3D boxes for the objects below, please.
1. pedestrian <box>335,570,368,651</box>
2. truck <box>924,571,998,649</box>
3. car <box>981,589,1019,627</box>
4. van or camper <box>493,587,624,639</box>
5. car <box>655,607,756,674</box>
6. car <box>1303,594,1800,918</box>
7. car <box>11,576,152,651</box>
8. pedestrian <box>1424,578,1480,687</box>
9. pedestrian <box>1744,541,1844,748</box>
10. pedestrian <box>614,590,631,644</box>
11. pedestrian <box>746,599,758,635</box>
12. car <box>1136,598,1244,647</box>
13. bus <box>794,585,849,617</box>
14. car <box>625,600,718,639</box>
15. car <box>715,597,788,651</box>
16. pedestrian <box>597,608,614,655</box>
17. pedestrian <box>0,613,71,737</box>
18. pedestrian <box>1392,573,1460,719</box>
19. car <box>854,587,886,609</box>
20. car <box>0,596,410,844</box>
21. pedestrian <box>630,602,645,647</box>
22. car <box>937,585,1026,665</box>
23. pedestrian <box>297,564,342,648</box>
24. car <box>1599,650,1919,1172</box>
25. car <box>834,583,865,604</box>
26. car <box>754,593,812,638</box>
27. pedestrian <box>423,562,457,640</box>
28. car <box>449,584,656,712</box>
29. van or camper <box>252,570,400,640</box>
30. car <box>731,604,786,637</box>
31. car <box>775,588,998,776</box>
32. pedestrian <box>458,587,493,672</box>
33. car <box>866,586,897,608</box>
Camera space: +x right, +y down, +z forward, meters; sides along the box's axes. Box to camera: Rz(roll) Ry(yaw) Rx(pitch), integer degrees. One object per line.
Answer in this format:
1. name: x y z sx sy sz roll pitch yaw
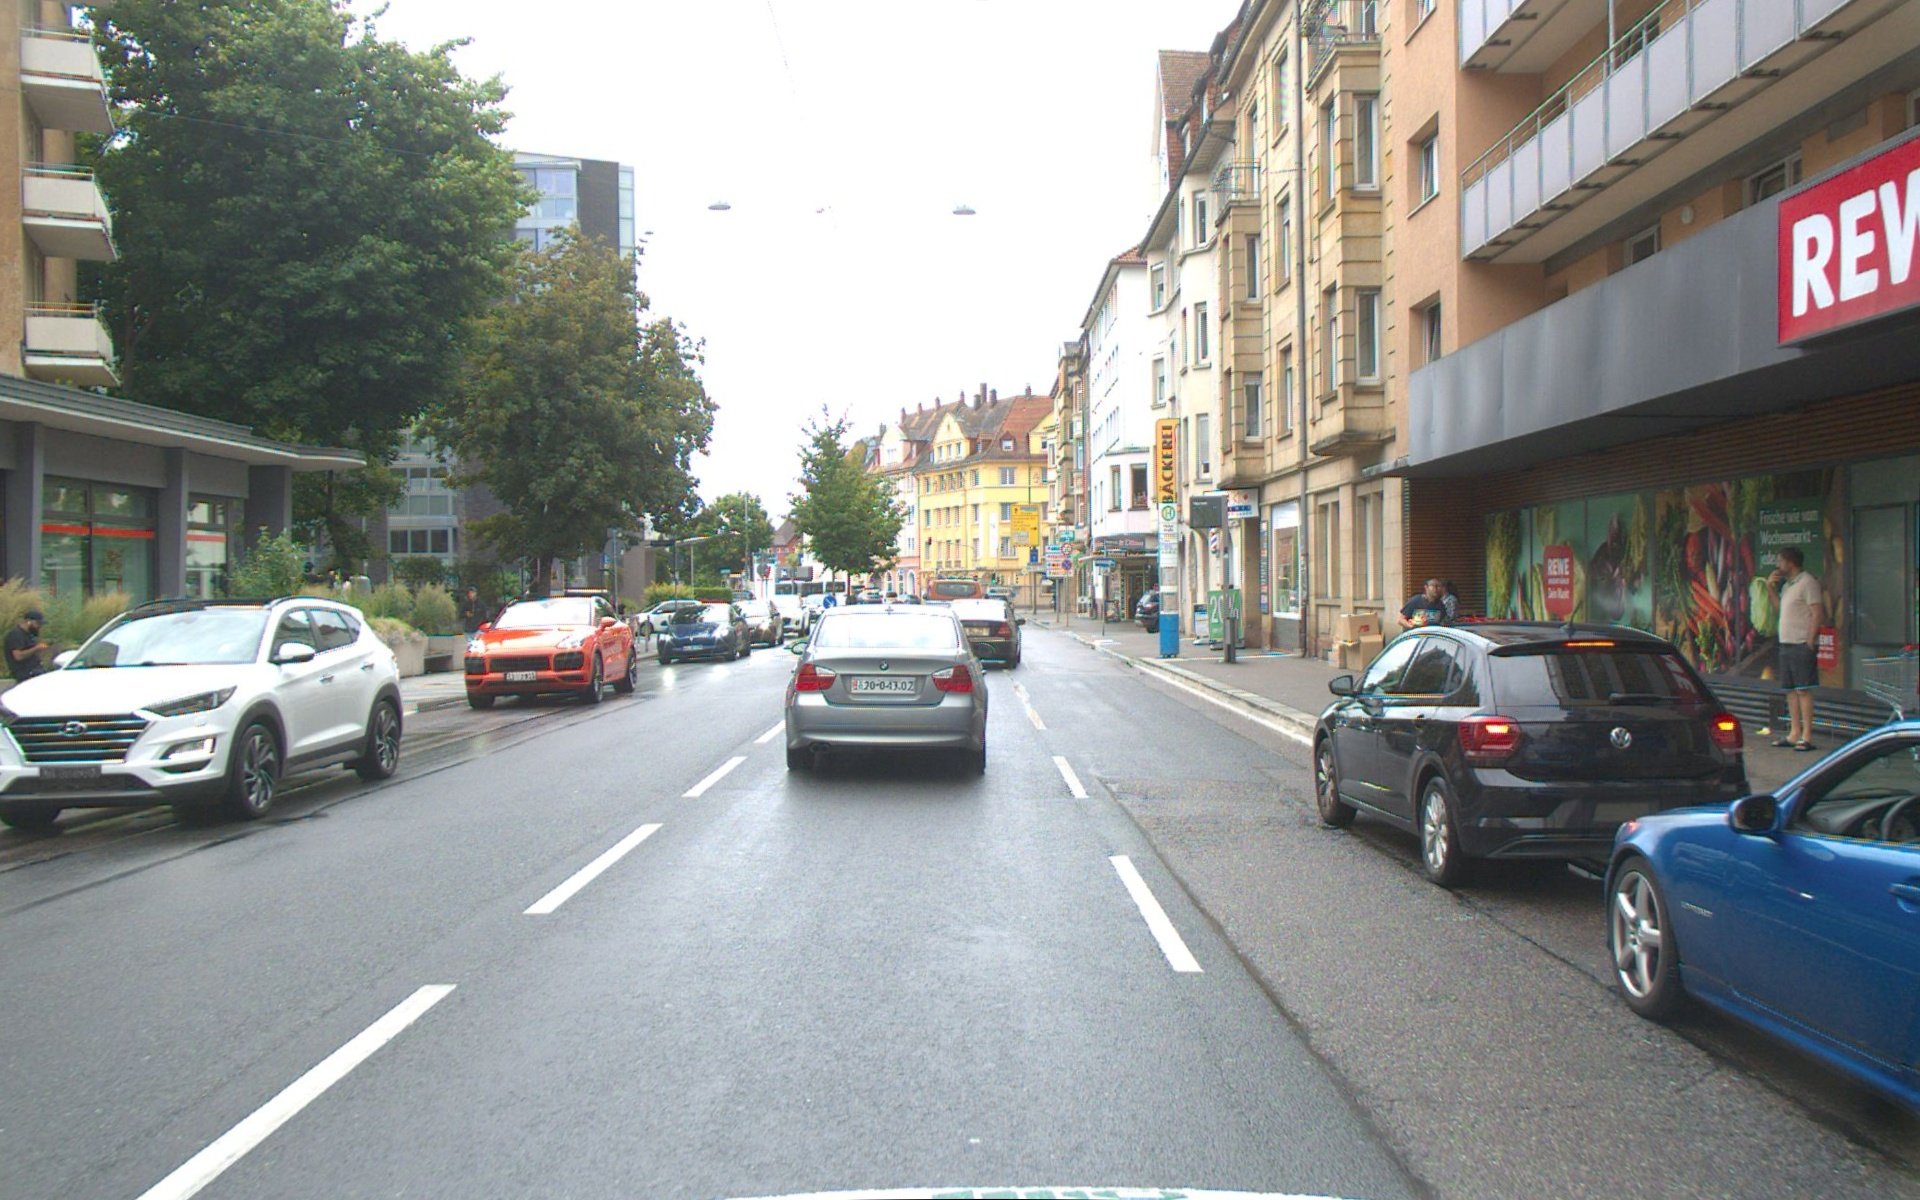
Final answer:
1. pedestrian: -13.653 0.230 37.077 0.646 1.789 0.716 0 0 -24
2. truck: -0.002 0.287 51.646 2.179 2.289 5.062 0 0 -1
3. car: 2.212 0.423 92.247 1.953 2.049 3.999 0 0 -1
4. van or camper: -16.440 0.535 67.779 4.898 2.049 1.980 0 0 -30
5. car: -6.589 1.012 43.309 1.915 1.538 4.911 -2 0 -1
6. car: 3.470 0.801 10.539 1.694 1.574 3.982 2 1 0
7. car: -28.398 0.407 53.554 3.942 2.295 1.981 -1 0 -29
8. pedestrian: 7.328 0.480 24.663 0.552 1.600 0.624 0 0 -17
9. pedestrian: 7.784 0.408 15.460 0.583 1.891 0.727 0 -1 3
10. pedestrian: -10.832 0.546 53.091 0.488 1.702 0.552 0 0 -4
11. pedestrian: -10.262 0.841 81.777 0.563 1.793 0.580 -1 0 -7
12. car: 8.788 0.845 63.383 4.050 1.803 1.875 0 0 7
13. bus: -14.302 0.053 170.165 2.870 3.159 9.075 -1 0 -24
14. car: -12.258 0.825 70.413 3.545 1.597 1.721 0 0 -34
15. car: -6.596 0.727 52.738 1.915 1.584 4.242 -1 0 -2
16. pedestrian: -11.417 0.996 53.239 0.450 1.499 0.530 0 0 -4
17. pedestrian: -11.167 0.881 19.817 0.580 1.445 0.723 0 0 34
18. pedestrian: 5.548 0.534 19.712 0.612 1.680 0.749 0 2 2
19. car: -8.545 -0.197 156.871 1.965 2.049 3.975 -1 0 -21
20. car: -6.011 0.839 13.179 1.856 1.601 4.124 -3 -1 -1
21. pedestrian: -10.353 0.782 53.128 0.424 1.435 0.481 0 0 -4
22. car: 0.406 0.519 35.105 1.763 1.590 3.999 0 -1 -1
23. pedestrian: -14.385 0.129 37.146 0.845 1.877 0.692 -1 0 -15
24. car: 3.459 0.882 4.953 1.699 1.333 3.767 0 0 1
25. car: -10.856 -0.649 162.674 1.965 2.049 3.974 -1 0 -21
26. car: -6.604 0.566 62.096 1.783 1.596 4.088 -2 0 -1
27. pedestrian: -12.537 0.017 39.863 0.711 1.858 0.849 0 1 -23
28. car: -6.400 0.726 26.626 2.063 1.795 5.059 -2 -1 -1
29. van or camper: -22.227 0.178 57.987 4.553 2.306 2.190 2 0 -30
30. car: -9.274 0.922 76.437 1.972 1.450 4.499 0 0 0
31. car: -0.629 0.692 15.315 1.763 1.490 4.369 0 -1 -1
32. pedestrian: -10.711 0.646 36.551 0.710 1.858 0.718 0 1 -19
33. car: -8.151 -0.344 170.718 1.740 2.218 3.968 2 -1 -25
